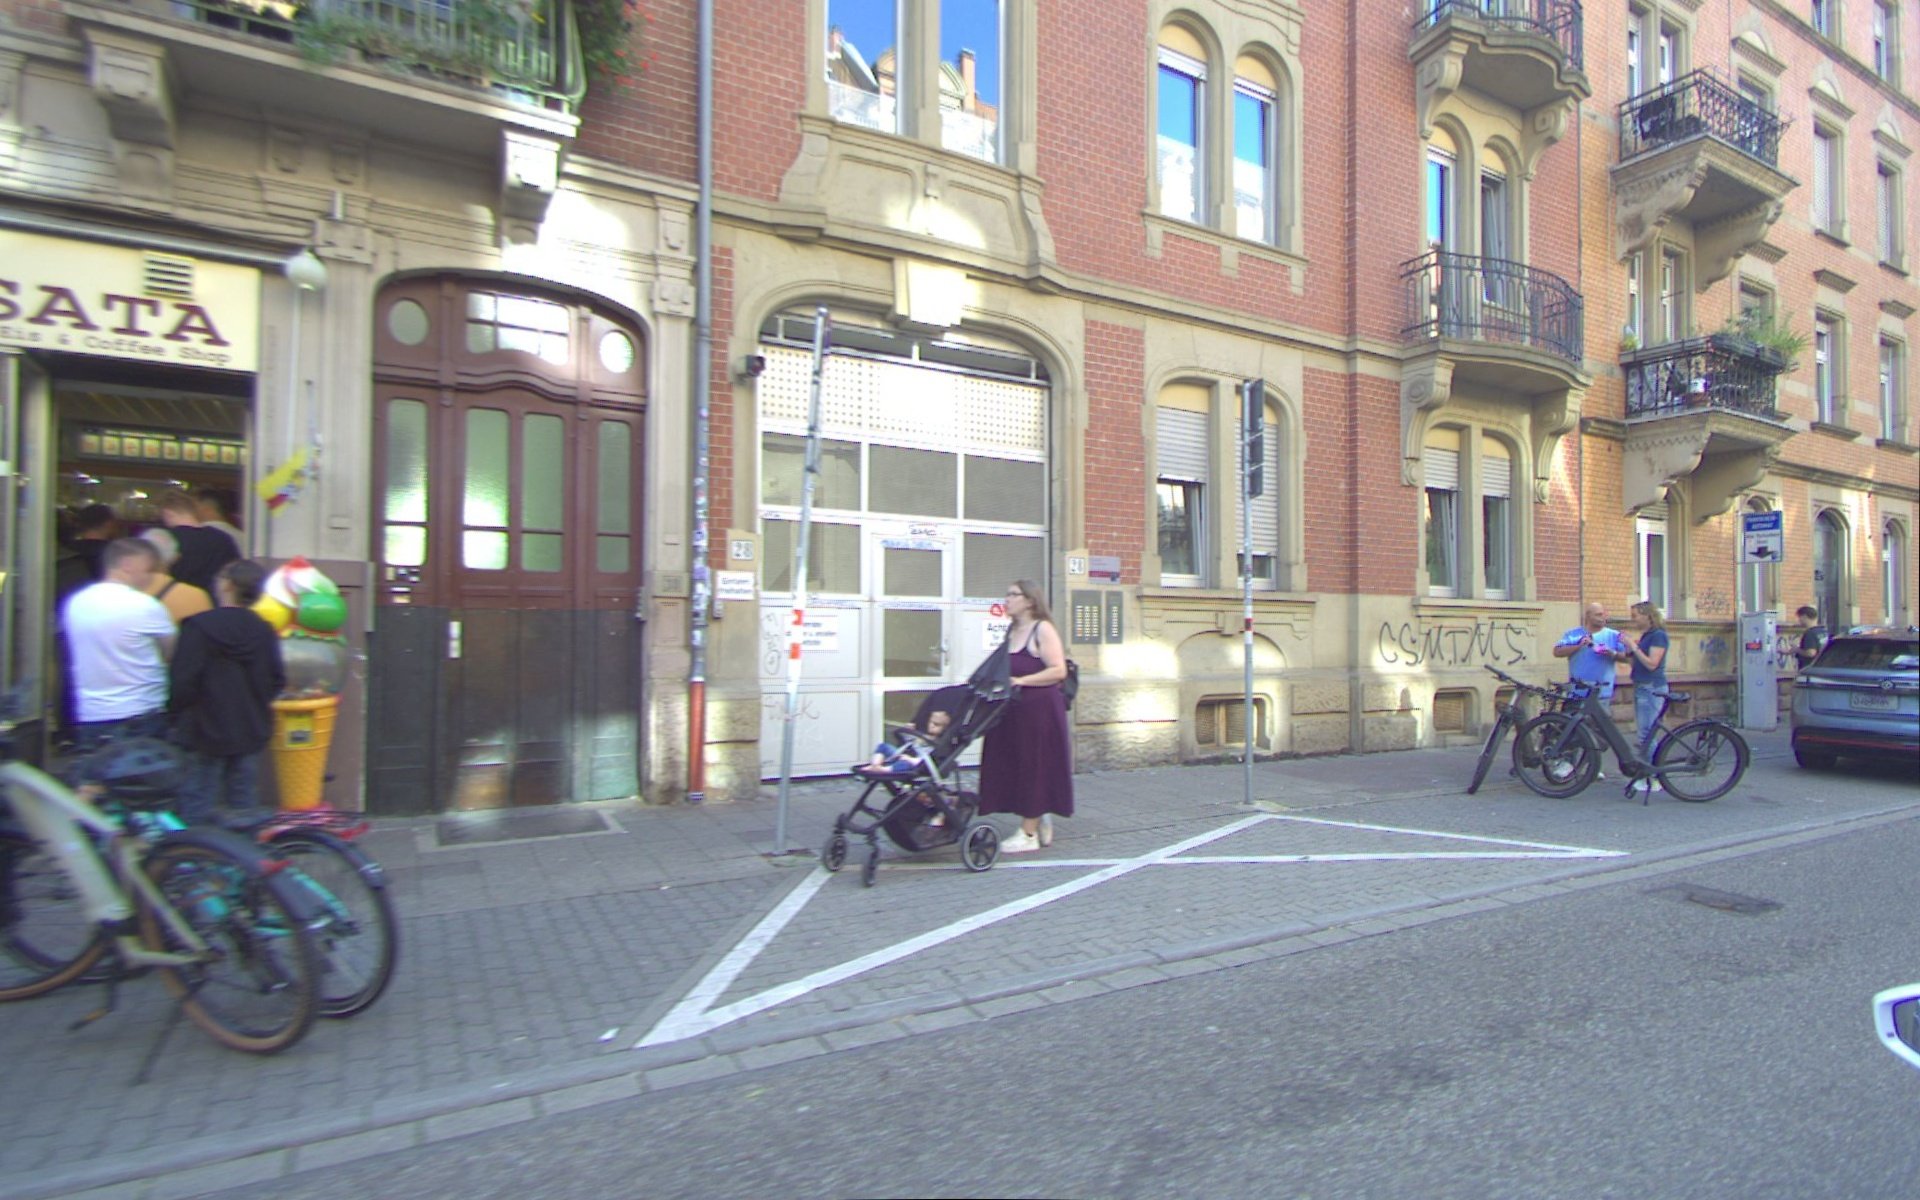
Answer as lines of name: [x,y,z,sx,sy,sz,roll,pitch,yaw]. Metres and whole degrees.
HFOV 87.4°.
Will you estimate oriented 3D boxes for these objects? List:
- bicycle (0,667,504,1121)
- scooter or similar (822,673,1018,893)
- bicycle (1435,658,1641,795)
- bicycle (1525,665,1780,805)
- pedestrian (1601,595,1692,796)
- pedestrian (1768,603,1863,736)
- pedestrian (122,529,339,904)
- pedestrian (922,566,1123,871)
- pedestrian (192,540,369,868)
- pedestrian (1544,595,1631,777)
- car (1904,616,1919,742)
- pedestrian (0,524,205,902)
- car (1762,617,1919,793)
bicycle: [-2.817,0.861,3.377,2.224,1.174,0.809,1,0,8]
scooter or similar: [-0.223,0.978,5.677,0.913,1.069,0.601,1,0,-35]
bicycle: [5.143,1.093,8.917,1.876,1.110,0.492,2,0,-21]
bicycle: [5.780,1.122,8.416,1.868,1.073,0.483,2,0,-6]
pedestrian: [6.238,0.835,9.151,0.555,1.732,0.667,1,0,25]
pedestrian: [12.212,0.964,14.346,0.852,1.832,0.753,1,0,-26]
pedestrian: [-3.606,0.533,4.999,0.554,1.718,0.647,1,0,18]
pedestrian: [0.375,0.660,6.164,0.821,1.683,0.904,1,0,-38]
pedestrian: [-3.840,0.552,5.737,0.754,1.718,0.660,1,0,-30]
pedestrian: [6.065,0.803,9.732,0.669,1.683,0.550,1,0,30]
car: [15.385,1.101,14.254,4.843,1.703,1.861,1,0,-34]
pedestrian: [-4.259,0.516,4.986,0.654,1.718,0.585,1,0,30]
car: [10.838,1.041,10.927,5.208,1.599,1.814,2,-1,-34]
